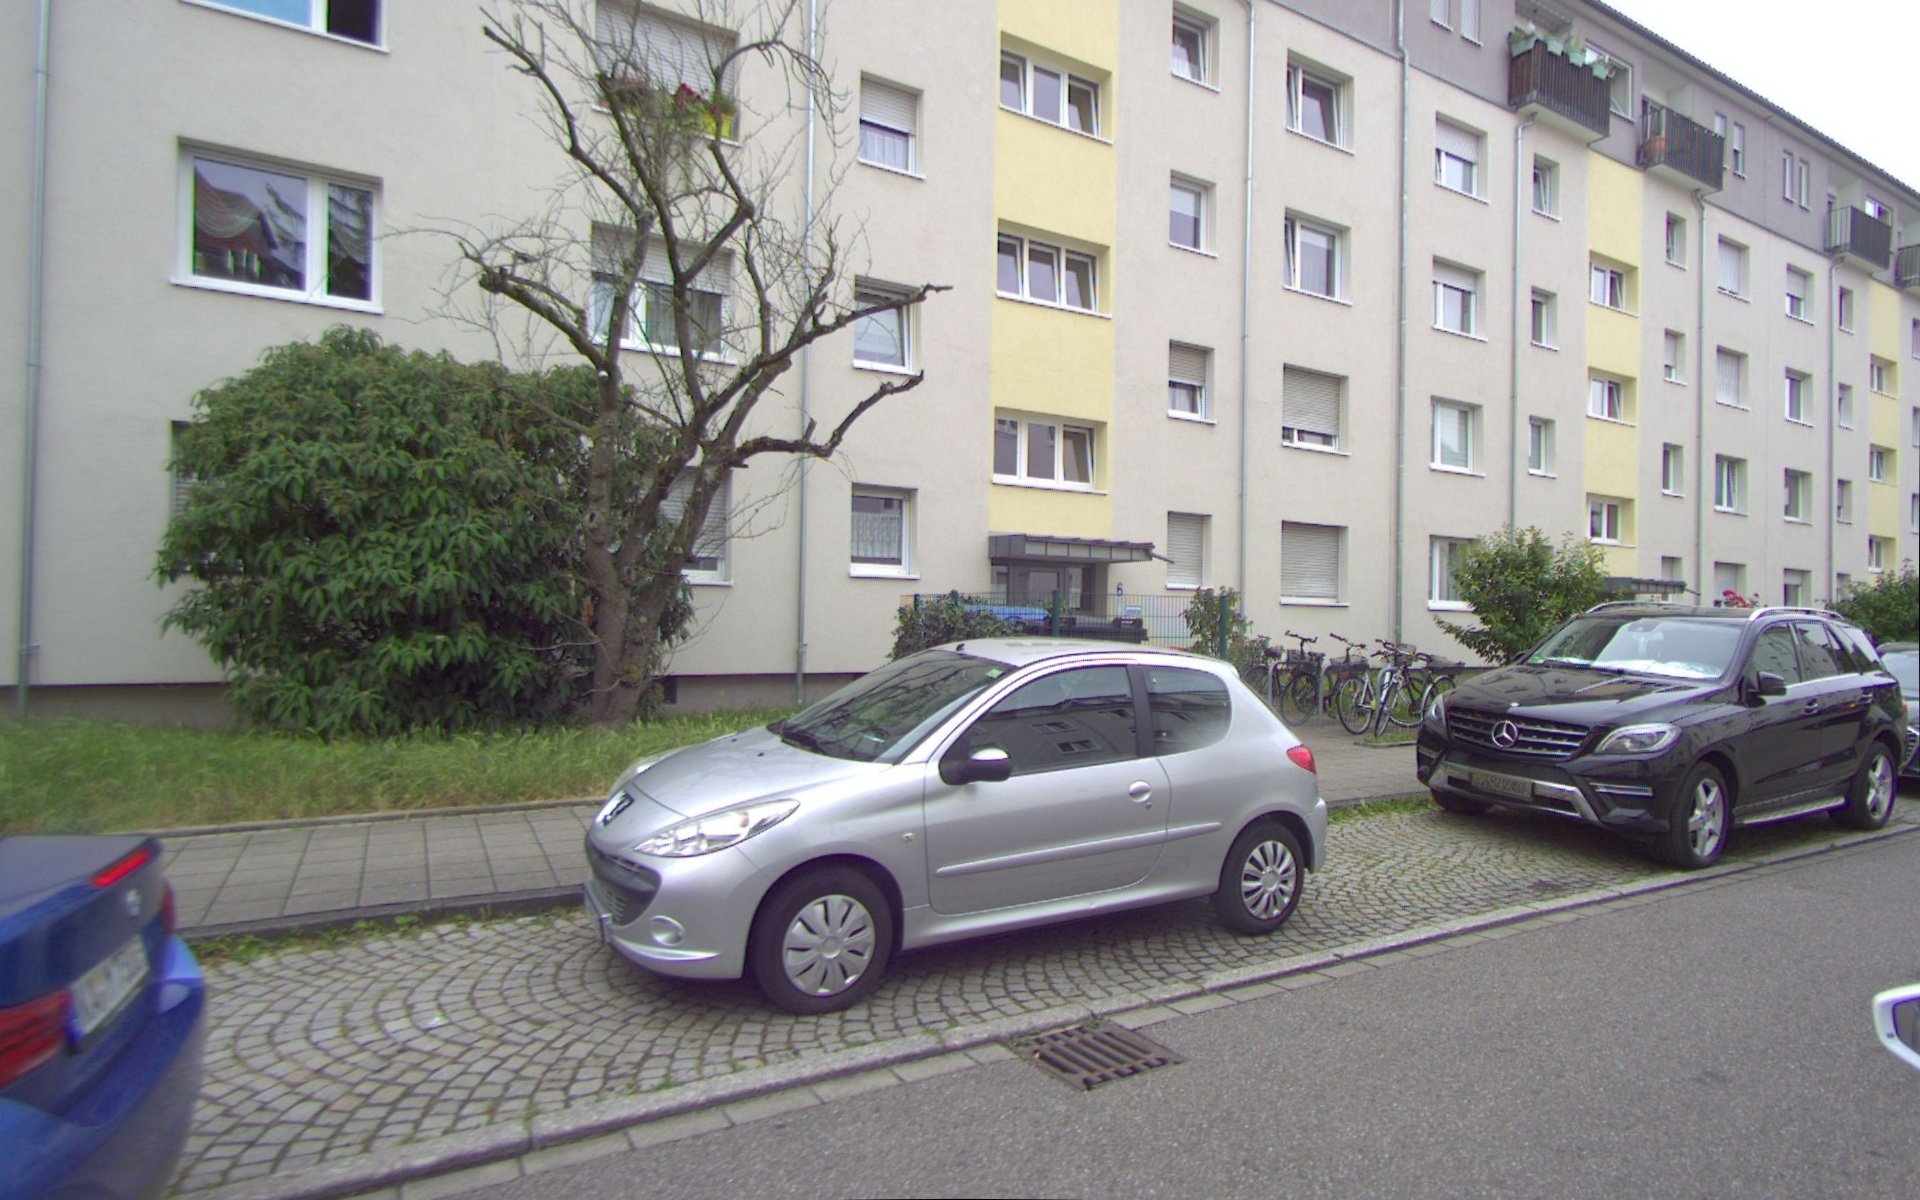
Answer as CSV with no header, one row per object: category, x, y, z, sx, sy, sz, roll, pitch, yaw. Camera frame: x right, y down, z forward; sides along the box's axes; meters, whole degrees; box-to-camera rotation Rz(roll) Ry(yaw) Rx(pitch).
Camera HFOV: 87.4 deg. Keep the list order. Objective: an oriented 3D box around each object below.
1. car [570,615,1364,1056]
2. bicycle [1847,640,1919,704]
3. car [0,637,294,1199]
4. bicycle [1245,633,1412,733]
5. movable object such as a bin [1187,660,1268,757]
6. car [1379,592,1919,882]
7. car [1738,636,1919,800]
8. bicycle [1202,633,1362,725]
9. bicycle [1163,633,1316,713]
car,0.106,0.879,5.200,3.741,1.484,1.736,2,0,-30
bicycle,19.125,1.457,20.657,2.066,1.227,0.728,1,0,-30
car,-3.503,0.799,1.087,4.446,1.470,1.837,1,0,-29
bicycle,4.922,1.055,13.357,2.327,1.228,0.785,1,-1,-30
movable object such as a bin,2.816,1.125,10.572,0.628,0.967,0.548,1,-2,-30
car,5.697,0.901,8.189,4.422,1.763,1.886,2,1,-30
car,10.878,1.208,11.173,4.611,1.472,1.886,2,1,-30
bicycle,4.543,1.073,14.102,2.327,1.201,0.785,2,-2,-30
bicycle,4.152,1.046,14.848,2.327,1.095,0.785,1,-1,-30
